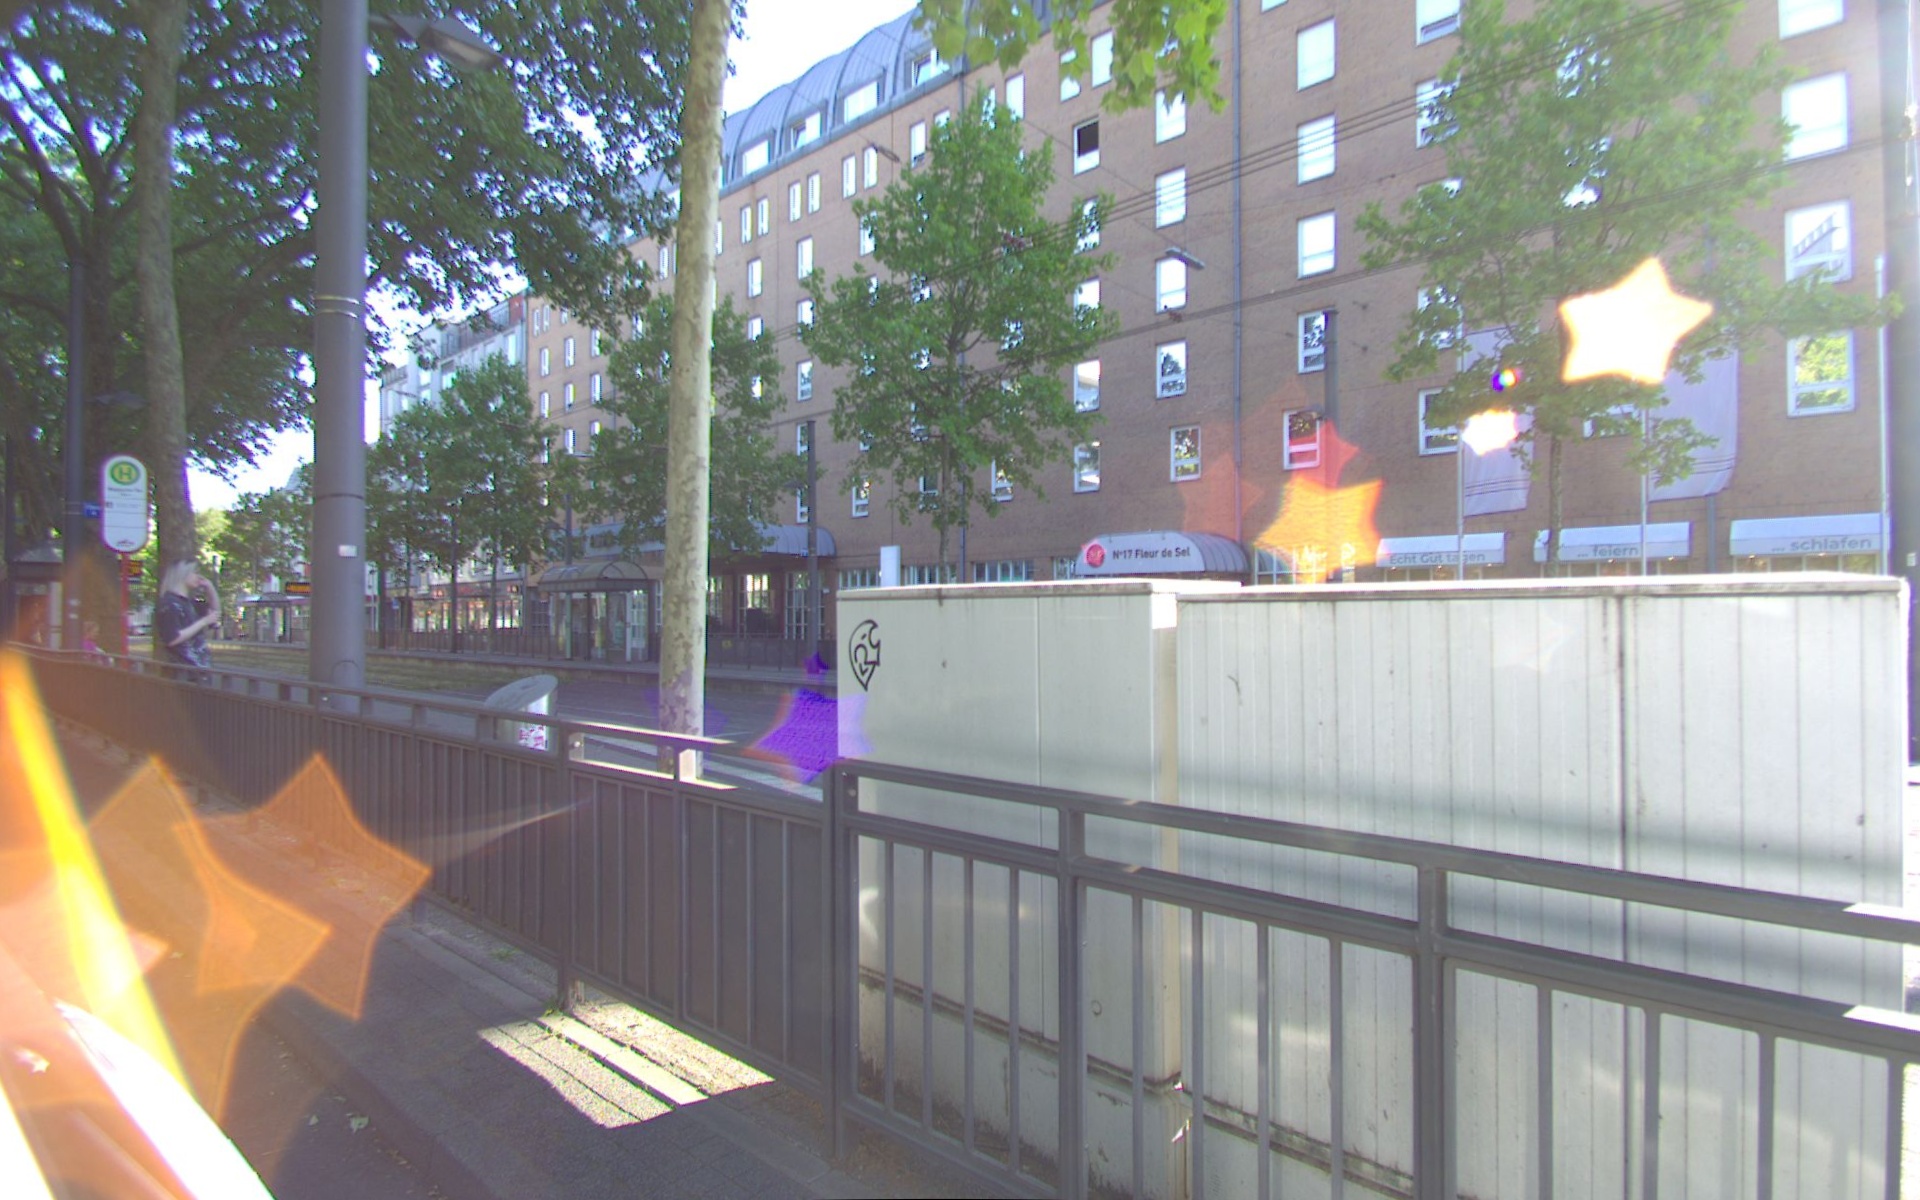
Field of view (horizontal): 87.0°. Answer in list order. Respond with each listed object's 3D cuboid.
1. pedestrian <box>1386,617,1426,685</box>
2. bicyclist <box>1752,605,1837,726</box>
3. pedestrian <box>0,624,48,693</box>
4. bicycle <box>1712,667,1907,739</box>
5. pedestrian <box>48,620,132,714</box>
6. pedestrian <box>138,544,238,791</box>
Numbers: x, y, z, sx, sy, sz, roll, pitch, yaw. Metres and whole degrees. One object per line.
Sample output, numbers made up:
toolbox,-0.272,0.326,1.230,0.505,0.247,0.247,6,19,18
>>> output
pedestrian,10.831,1.235,24.579,0.725,1.596,0.583,-1,0,40
bicyclist,12.882,0.997,15.630,0.740,1.799,0.854,2,-2,-39
pedestrian,-19.907,1.229,21.529,0.725,1.398,0.641,-1,0,-44
bicycle,12.955,1.534,15.514,0.657,0.940,2.188,1,-2,-39
pedestrian,-13.759,1.036,16.006,0.965,1.410,0.665,-1,0,-44
pedestrian,-6.314,0.524,8.271,0.759,1.914,0.504,-1,0,42
